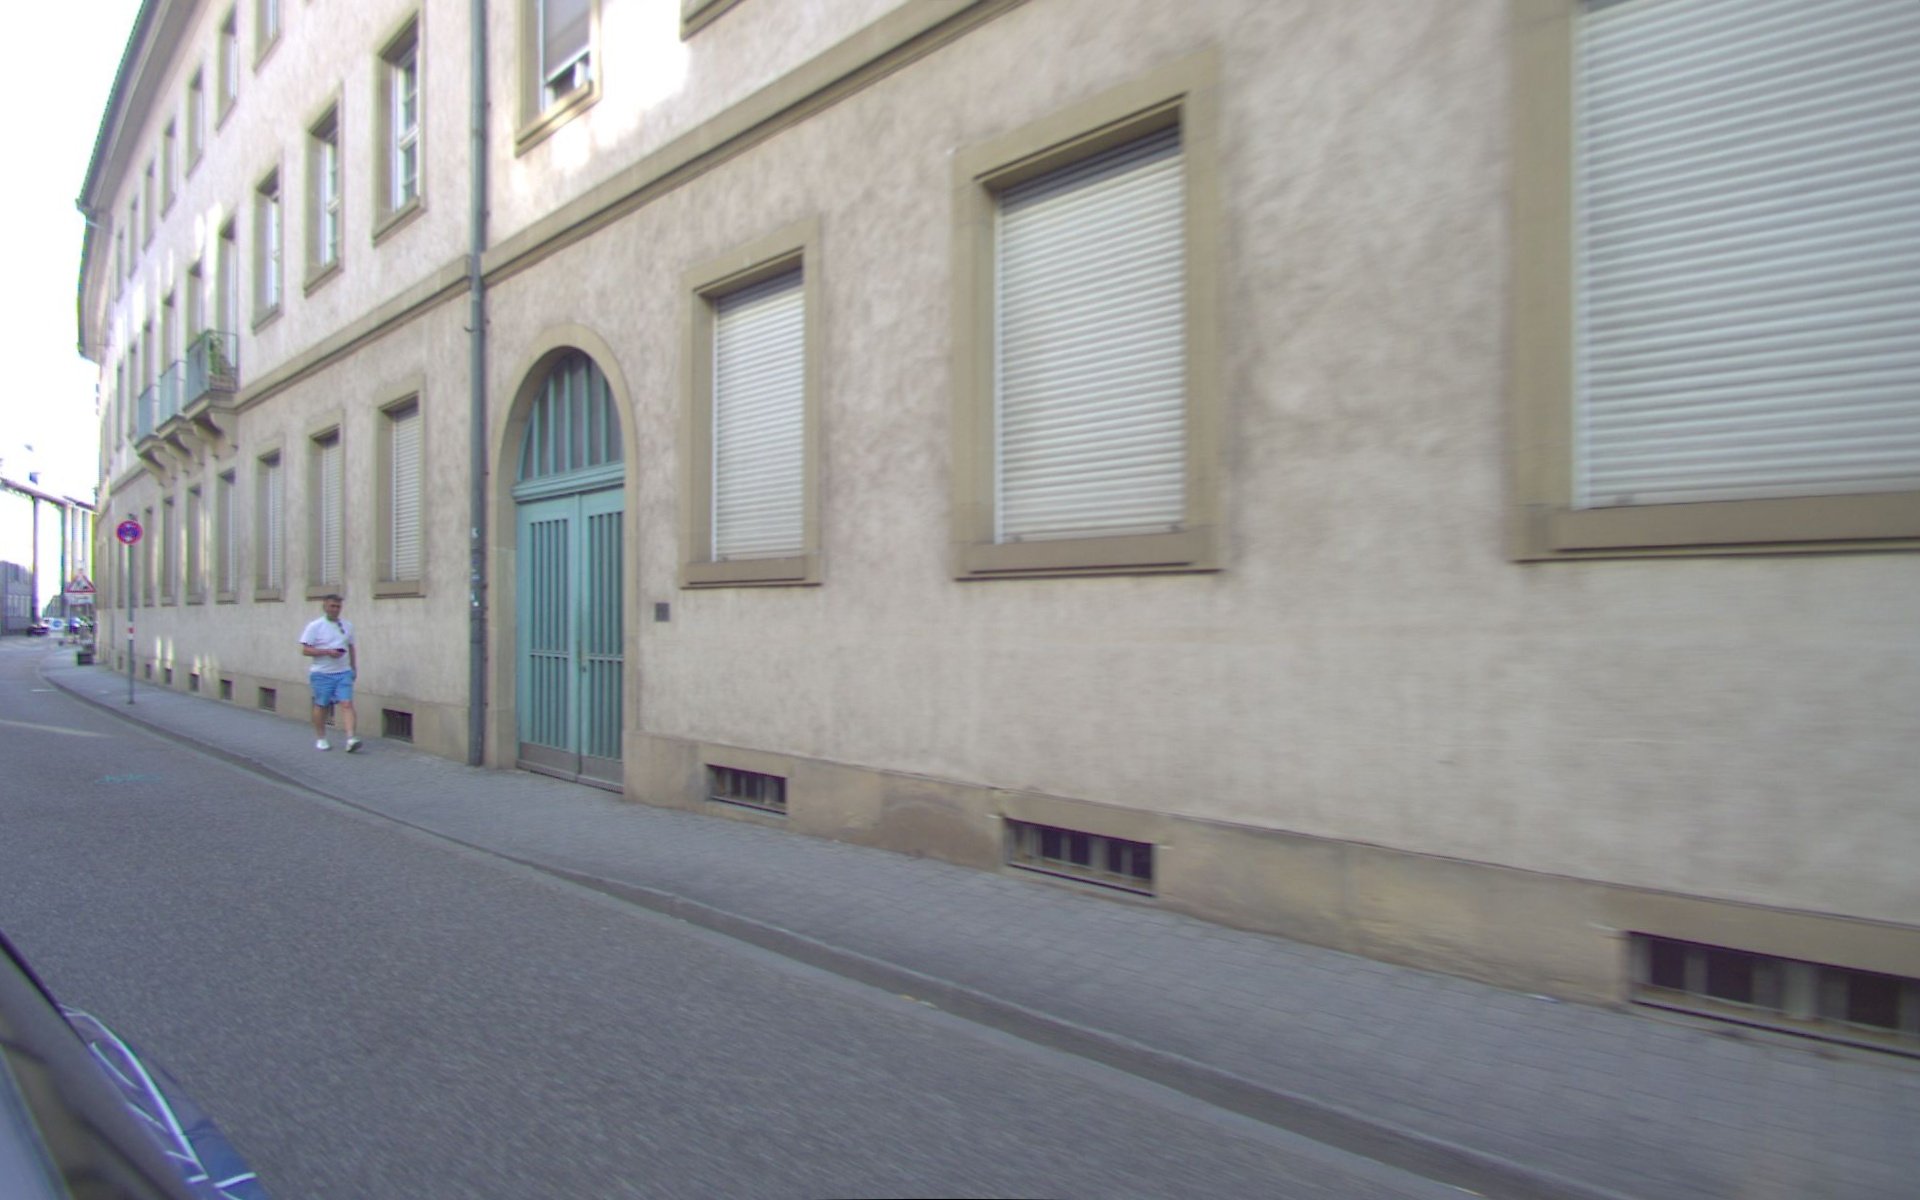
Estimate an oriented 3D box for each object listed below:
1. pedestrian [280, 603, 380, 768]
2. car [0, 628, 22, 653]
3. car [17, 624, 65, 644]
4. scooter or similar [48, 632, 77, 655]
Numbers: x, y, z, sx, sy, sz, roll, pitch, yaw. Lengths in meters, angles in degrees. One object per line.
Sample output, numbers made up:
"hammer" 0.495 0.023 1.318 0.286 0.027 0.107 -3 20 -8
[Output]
"pedestrian" -6.838 0.882 10.978 0.875 1.682 0.685 -1 1 43
"car" -67.120 2.856 70.569 1.747 1.595 3.867 -5 2 -32
"car" -72.385 2.654 79.775 1.933 1.418 4.209 -2 0 -31
"scooter or similar" -50.526 2.446 56.965 0.461 1.234 1.300 0 -2 0
